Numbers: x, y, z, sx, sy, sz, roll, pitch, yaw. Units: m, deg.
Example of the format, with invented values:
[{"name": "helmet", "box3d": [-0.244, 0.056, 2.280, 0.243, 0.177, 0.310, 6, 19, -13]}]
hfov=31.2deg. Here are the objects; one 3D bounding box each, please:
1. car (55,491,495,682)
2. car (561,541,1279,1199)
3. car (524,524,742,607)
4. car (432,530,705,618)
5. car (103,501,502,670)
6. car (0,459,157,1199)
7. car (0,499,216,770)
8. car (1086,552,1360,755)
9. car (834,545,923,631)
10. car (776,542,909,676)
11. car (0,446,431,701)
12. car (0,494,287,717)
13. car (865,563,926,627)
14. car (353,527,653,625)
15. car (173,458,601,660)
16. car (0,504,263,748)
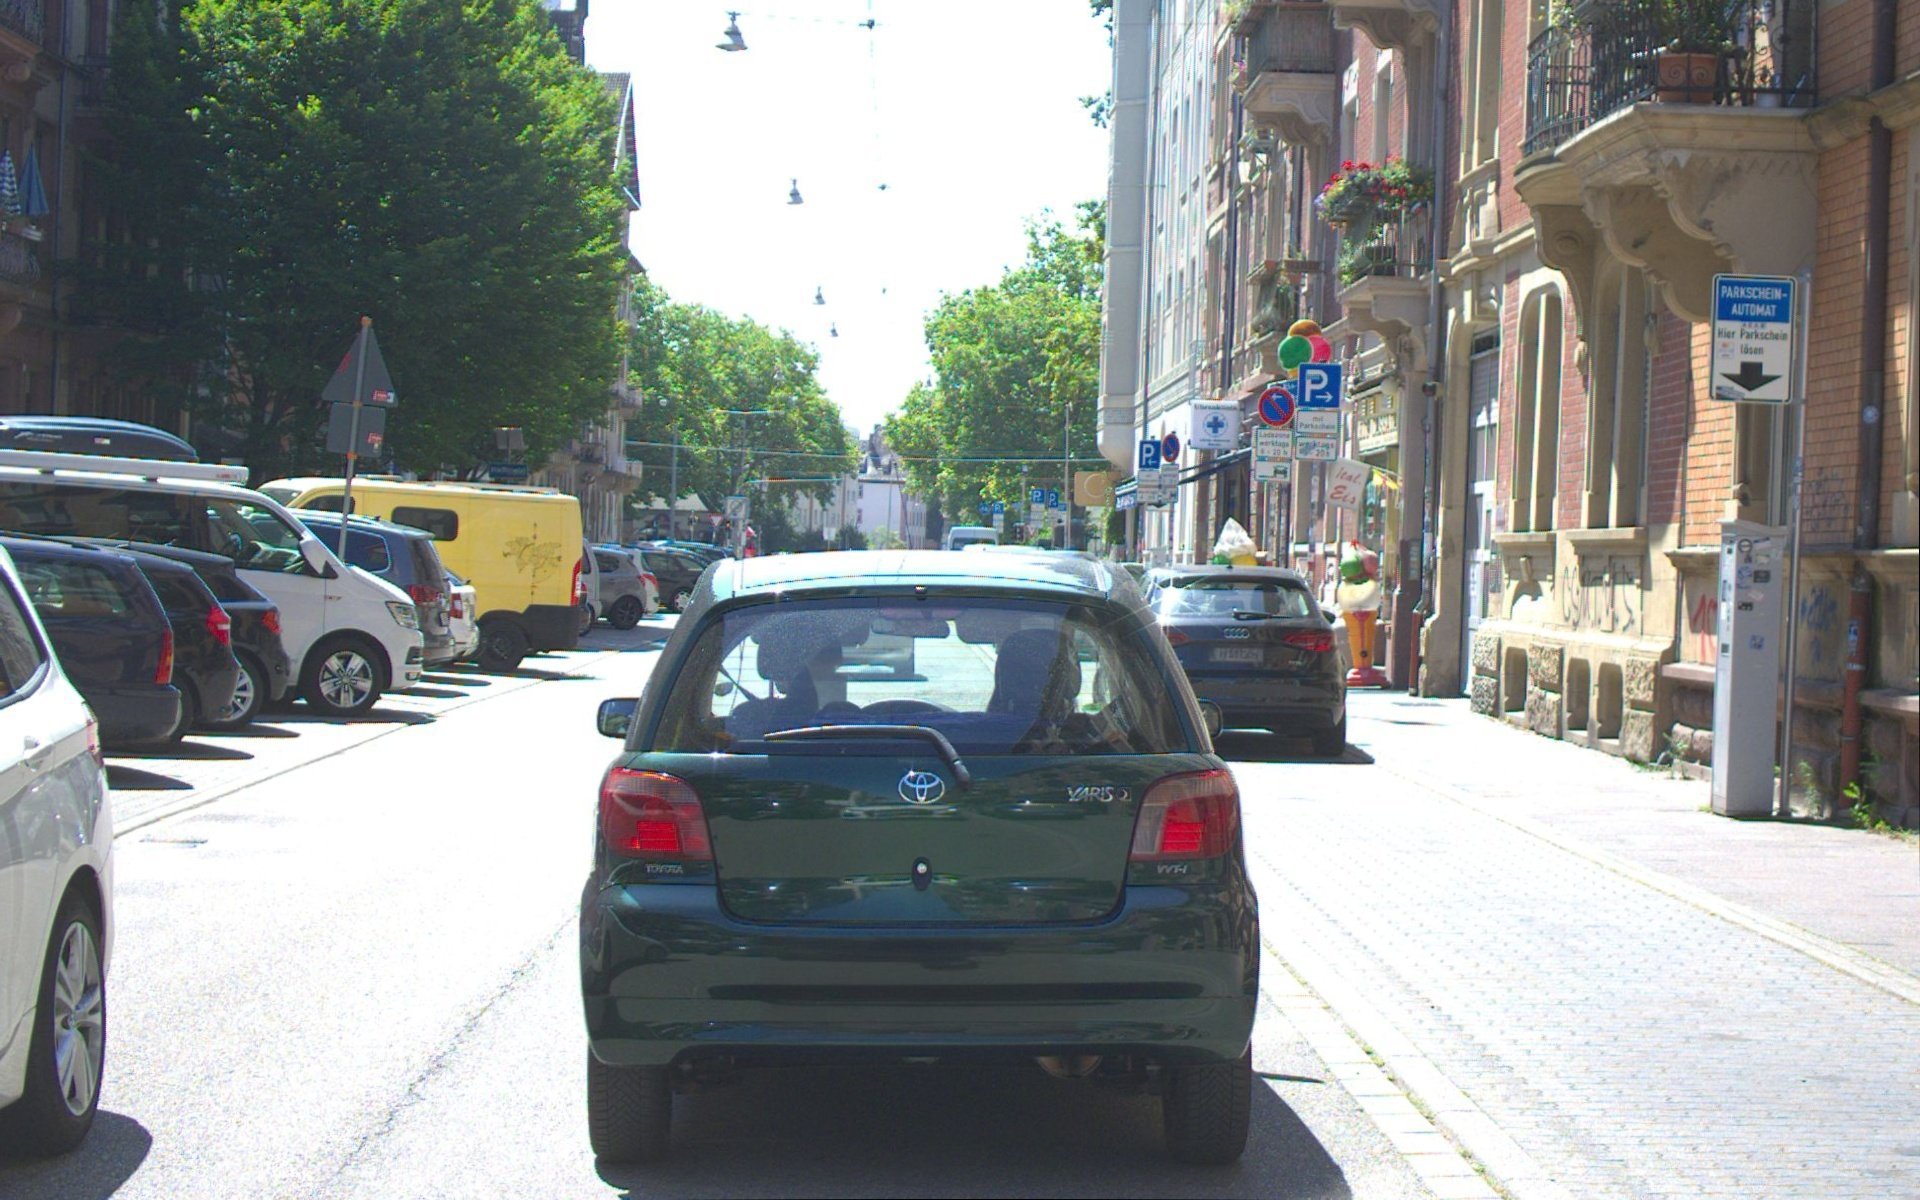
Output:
[{"name": "car", "box3d": [-6.819, -0.134, 34.213, 3.909, 1.702, 1.866, 2, 1, -24]}, {"name": "car", "box3d": [-0.156, 0.599, 9.457, 1.613, 1.480, 3.241, 1, 1, -2]}, {"name": "car", "box3d": [-7.676, -0.810, 80.667, 4.606, 1.720, 2.000, 2, 1, -28]}, {"name": "car", "box3d": [-7.256, -0.481, 63.736, 4.557, 1.424, 2.000, 2, 1, -28]}, {"name": "car", "box3d": [-7.100, -0.157, 37.090, 3.861, 1.634, 1.786, 2, 1, -24]}, {"name": "car", "box3d": [-2.972, 0.529, 6.849, 1.754, 1.639, 4.378, -1, 1, -1]}, {"name": "car", "box3d": [-6.791, 0.149, 21.286, 3.909, 1.613, 1.866, 2, 1, -24]}, {"name": "car", "box3d": [1.989, 0.362, 27.042, 1.754, 1.424, 4.000, 2, 1, -1]}, {"name": "car", "box3d": [-1.606, -0.257, 68.456, 1.522, 1.587, 3.264, 2, 1, 2]}, {"name": "car", "box3d": [-1.435, 0.078, 42.444, 1.522, 1.516, 3.264, 2, 1, -2]}, {"name": "car", "box3d": [-7.140, -0.241, 29.111, 4.772, 1.987, 2.054, 2, 1, -29]}, {"name": "car", "box3d": [-7.375, -0.003, 26.521, 3.909, 1.613, 1.866, 2, 1, -24]}, {"name": "car", "box3d": [-1.747, -0.157, 92.592, 1.522, 1.587, 3.264, 2, 1, -2]}, {"name": "car", "box3d": [-7.713, -0.400, 58.109, 4.557, 1.429, 2.000, 2, 1, -28]}, {"name": "car", "box3d": [-6.837, -0.480, 41.088, 4.557, 2.180, 2.000, 2, 1, -28]}, {"name": "car", "box3d": [-7.036, 0.125, 23.916, 3.909, 1.613, 1.866, 2, 1, -24]}]
